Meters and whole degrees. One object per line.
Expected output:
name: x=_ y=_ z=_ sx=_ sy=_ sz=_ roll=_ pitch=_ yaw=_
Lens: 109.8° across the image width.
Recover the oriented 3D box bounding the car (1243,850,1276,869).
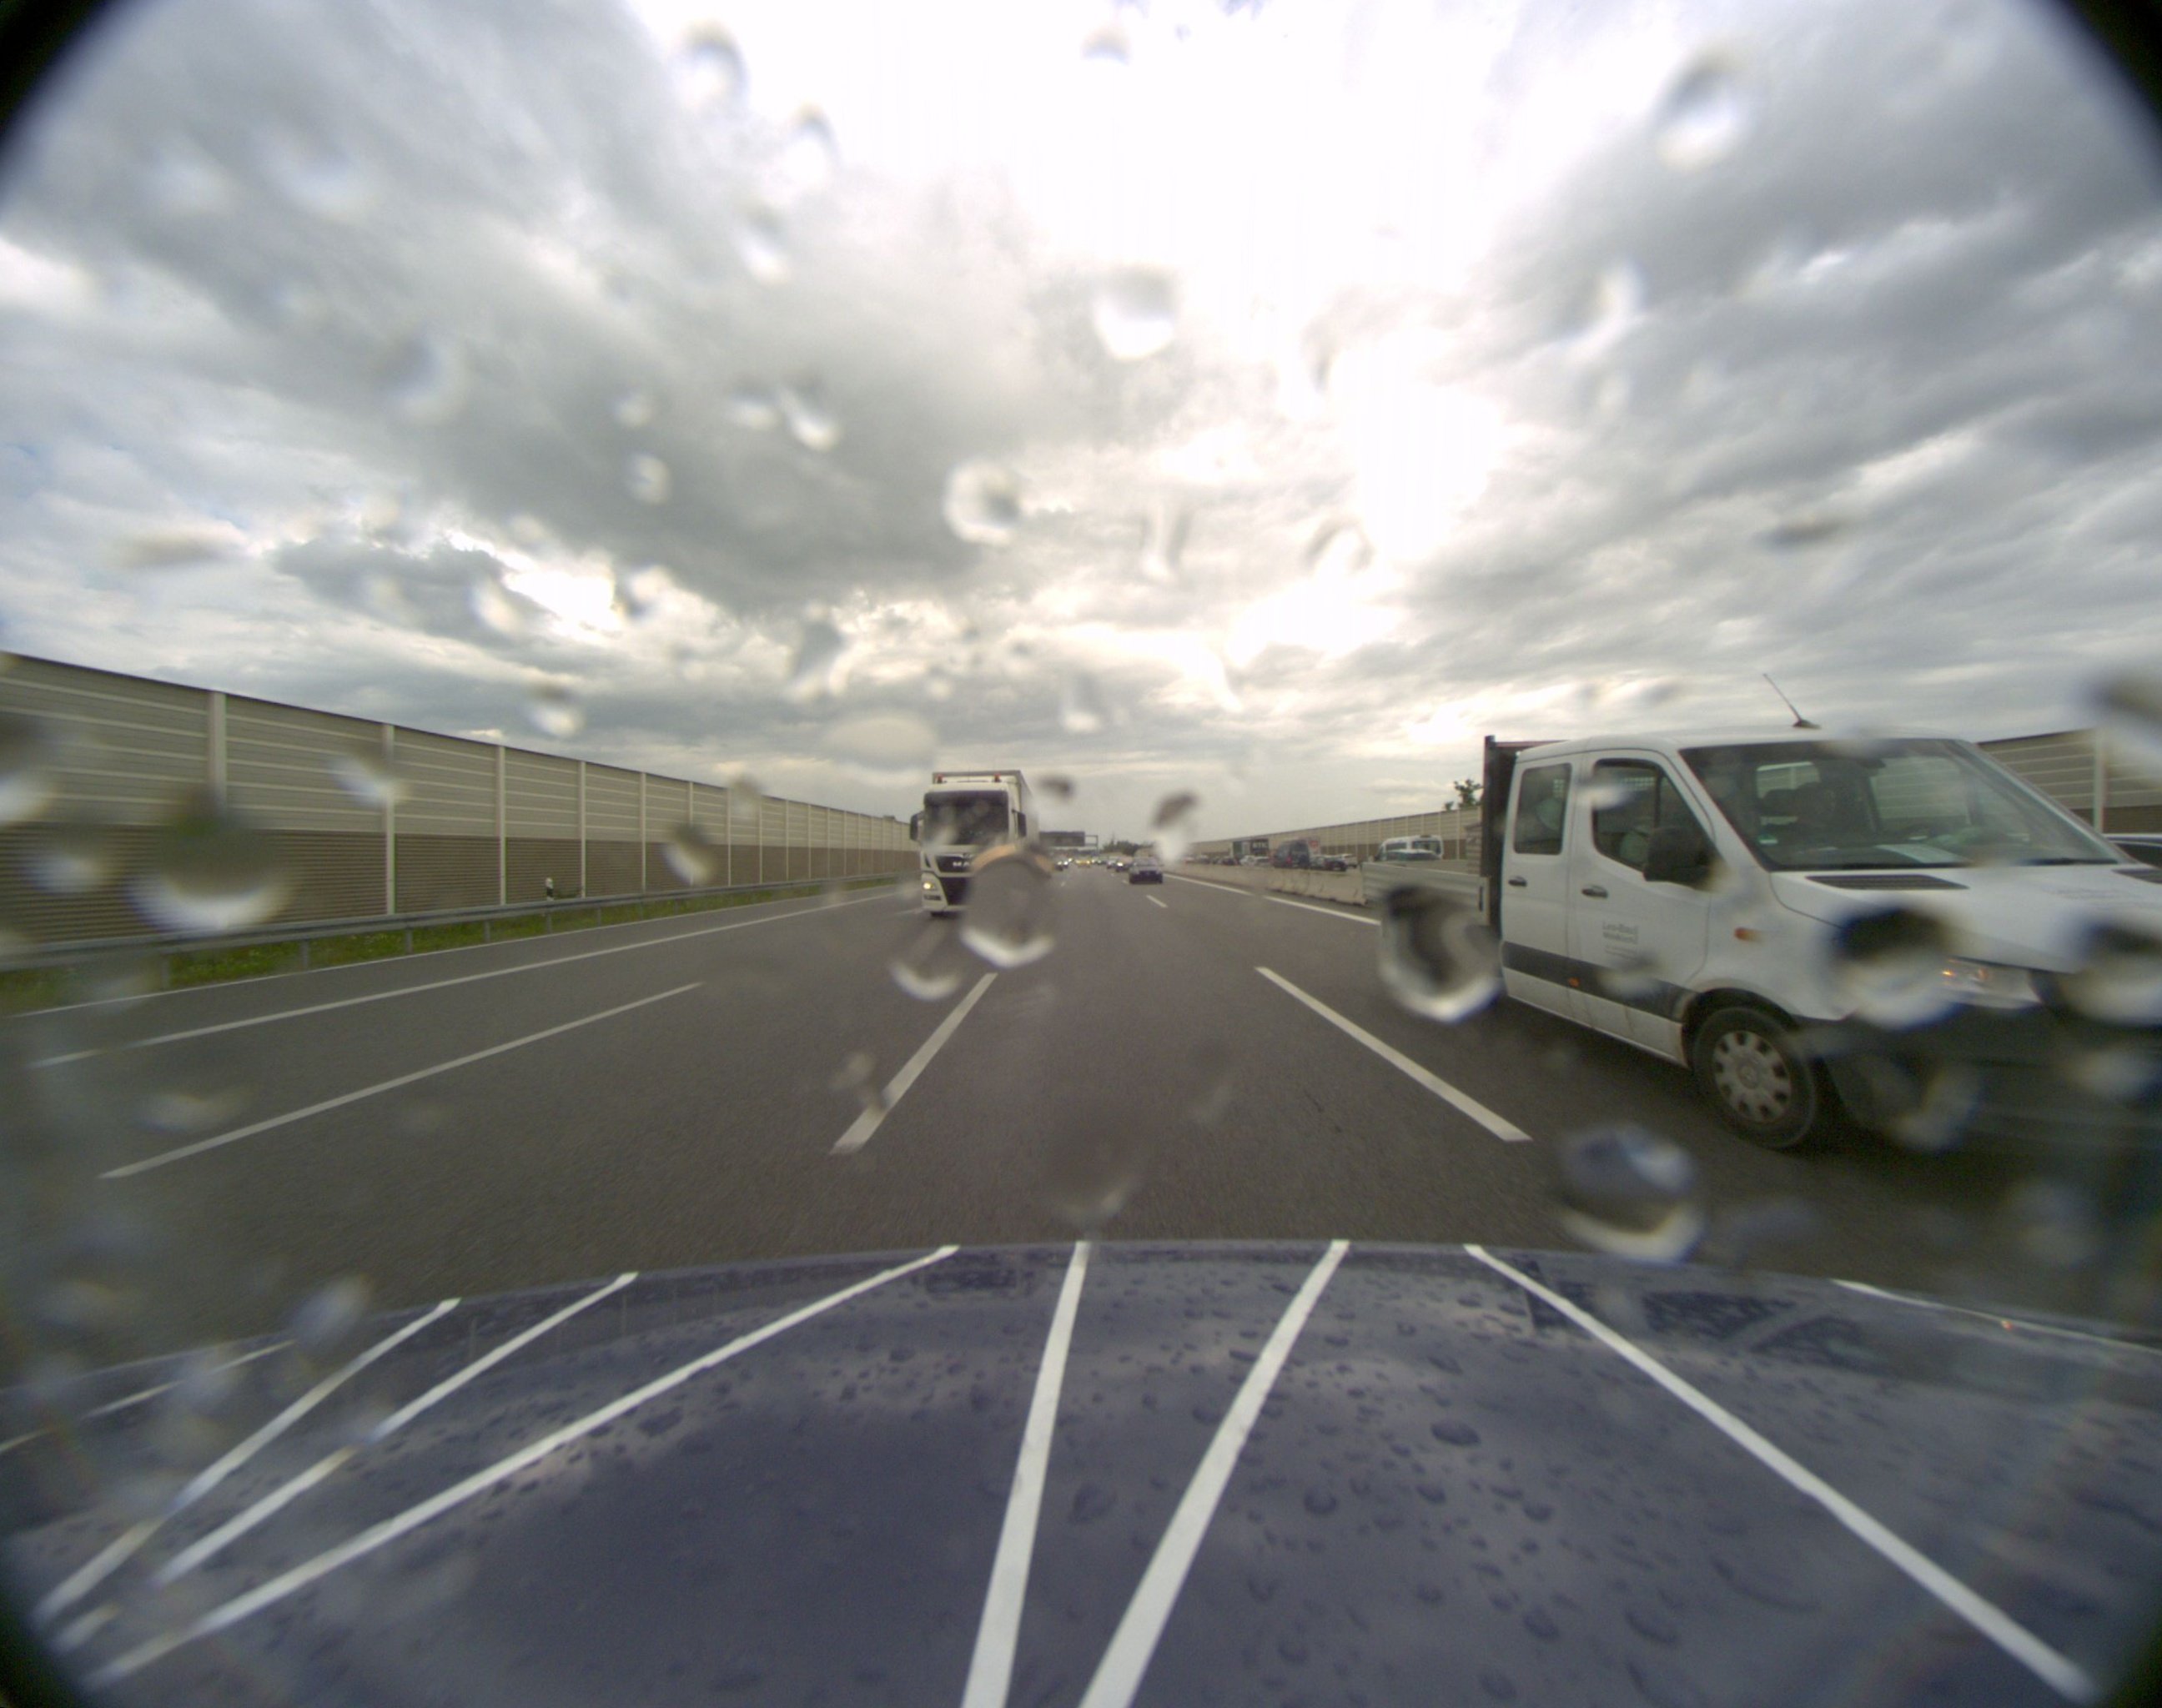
car: x=15.043 y=0.415 z=64.265 sx=1.641 sy=1.496 sz=4.362 roll=-1 pitch=0 yaw=-1

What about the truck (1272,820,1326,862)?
truck: x=26.773 y=-1.515 z=94.075 sx=3.225 sy=4.829 sz=11.697 roll=-1 pitch=0 yaw=0

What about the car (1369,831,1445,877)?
car: x=18.736 y=-0.020 z=43.970 sx=2.031 sy=2.459 sz=5.148 roll=-1 pitch=0 yaw=-1

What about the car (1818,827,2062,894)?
car: x=26.052 y=0.158 z=23.396 sx=1.812 sy=1.808 sz=4.978 roll=-1 pitch=0 yaw=-1

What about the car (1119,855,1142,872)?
car: x=4.611 y=0.849 z=71.151 sx=1.776 sy=1.451 sz=4.479 roll=-1 pitch=1 yaw=0

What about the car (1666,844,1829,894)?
car: x=22.201 y=0.451 z=25.561 sx=1.574 sy=1.496 sz=4.362 roll=-1 pitch=0 yaw=-1

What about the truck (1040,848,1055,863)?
truck: x=-7.256 y=0.330 z=165.875 sx=2.599 sy=3.037 sz=9.701 roll=-1 pitch=1 yaw=0

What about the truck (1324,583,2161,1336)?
truck: x=4.310 y=0.297 z=6.040 sx=2.313 sy=2.425 sz=7.147 roll=-2 pitch=0 yaw=-1

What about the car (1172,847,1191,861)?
car: x=14.944 y=-0.002 z=113.306 sx=2.120 sy=1.924 sz=4.932 roll=-1 pitch=0 yaw=0

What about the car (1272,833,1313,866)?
car: x=18.925 y=-0.396 z=68.258 sx=2.133 sy=2.733 sz=4.932 roll=-1 pitch=0 yaw=-1

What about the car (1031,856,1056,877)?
car: x=-2.674 y=0.877 z=54.822 sx=1.578 sy=1.395 sz=3.999 roll=-1 pitch=1 yaw=0

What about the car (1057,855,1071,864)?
car: x=-2.382 y=0.749 z=105.077 sx=1.776 sy=1.248 sz=4.479 roll=-1 pitch=1 yaw=0

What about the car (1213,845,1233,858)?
car: x=22.552 y=-0.388 z=120.923 sx=2.120 sy=1.924 sz=4.932 roll=-1 pitch=0 yaw=0

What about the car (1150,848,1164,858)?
car: x=14.003 y=-0.190 z=140.232 sx=2.120 sy=1.924 sz=4.932 roll=-1 pitch=0 yaw=0

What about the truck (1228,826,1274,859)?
truck: x=26.949 y=-1.762 z=121.465 sx=3.448 sy=4.829 sz=17.227 roll=-1 pitch=0 yaw=0

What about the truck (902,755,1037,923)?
truck: x=-2.982 y=-0.396 z=21.970 sx=2.913 sy=4.146 sz=5.192 roll=-3 pitch=1 yaw=0

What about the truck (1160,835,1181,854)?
truck: x=25.503 y=-2.704 z=217.719 sx=3.714 sy=5.029 sz=17.226 roll=-1 pitch=0 yaw=-1

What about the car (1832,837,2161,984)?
car: x=14.940 y=0.713 z=11.482 sx=1.924 sy=1.880 sz=5.426 roll=-1 pitch=0 yaw=2

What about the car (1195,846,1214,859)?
car: x=19.316 y=-0.244 z=119.364 sx=2.120 sy=1.924 sz=4.932 roll=-1 pitch=0 yaw=0

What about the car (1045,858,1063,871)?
car: x=-2.977 y=1.139 z=83.624 sx=1.776 sy=1.248 sz=4.479 roll=-1 pitch=1 yaw=0

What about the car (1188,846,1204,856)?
car: x=22.007 y=-0.569 z=145.641 sx=2.120 sy=1.924 sz=4.932 roll=-1 pitch=0 yaw=0

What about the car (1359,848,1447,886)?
car: x=14.710 y=0.550 z=34.994 sx=1.925 sy=1.622 sz=4.695 roll=-1 pitch=0 yaw=-1

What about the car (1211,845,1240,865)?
car: x=14.631 y=0.112 z=77.037 sx=1.947 sy=1.924 sz=4.932 roll=-1 pitch=0 yaw=0

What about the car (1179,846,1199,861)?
car: x=14.481 y=-0.094 z=102.004 sx=1.947 sy=1.924 sz=4.932 roll=-1 pitch=0 yaw=0

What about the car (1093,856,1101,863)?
car: x=3.134 y=1.100 z=150.666 sx=1.498 sy=1.395 sz=3.999 roll=-1 pitch=1 yaw=0

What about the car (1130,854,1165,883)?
car: x=3.509 y=0.737 z=40.856 sx=1.578 sy=1.395 sz=4.000 roll=-1 pitch=1 yaw=1

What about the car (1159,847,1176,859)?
car: x=14.370 y=-0.102 z=126.533 sx=2.120 sy=1.924 sz=4.932 roll=-1 pitch=0 yaw=0

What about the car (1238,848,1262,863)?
car: x=22.723 y=0.124 z=102.318 sx=2.120 sy=1.924 sz=4.932 roll=-1 pitch=0 yaw=0

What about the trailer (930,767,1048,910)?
trailer: x=-3.063 y=-0.510 z=29.430 sx=2.926 sy=4.188 sz=13.194 roll=-2 pitch=1 yaw=-1

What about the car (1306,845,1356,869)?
car: x=18.767 y=0.226 z=57.262 sx=2.132 sy=1.697 sz=4.932 roll=-1 pitch=0 yaw=1

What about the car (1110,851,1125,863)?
car: x=4.430 y=0.354 z=91.579 sx=1.732 sy=1.395 sz=4.000 roll=-1 pitch=1 yaw=2

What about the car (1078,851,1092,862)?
car: x=0.613 y=0.382 z=105.453 sx=1.732 sy=1.395 sz=4.000 roll=-1 pitch=1 yaw=2

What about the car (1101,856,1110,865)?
car: x=4.257 y=1.099 z=132.008 sx=1.497 sy=1.395 sz=4.000 roll=-1 pitch=1 yaw=2

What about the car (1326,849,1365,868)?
car: x=27.292 y=0.479 z=78.541 sx=2.133 sy=1.857 sz=4.932 roll=-1 pitch=0 yaw=-1

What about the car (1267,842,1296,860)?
car: x=22.985 y=-0.310 z=87.217 sx=1.947 sy=1.924 sz=4.932 roll=-1 pitch=0 yaw=0
